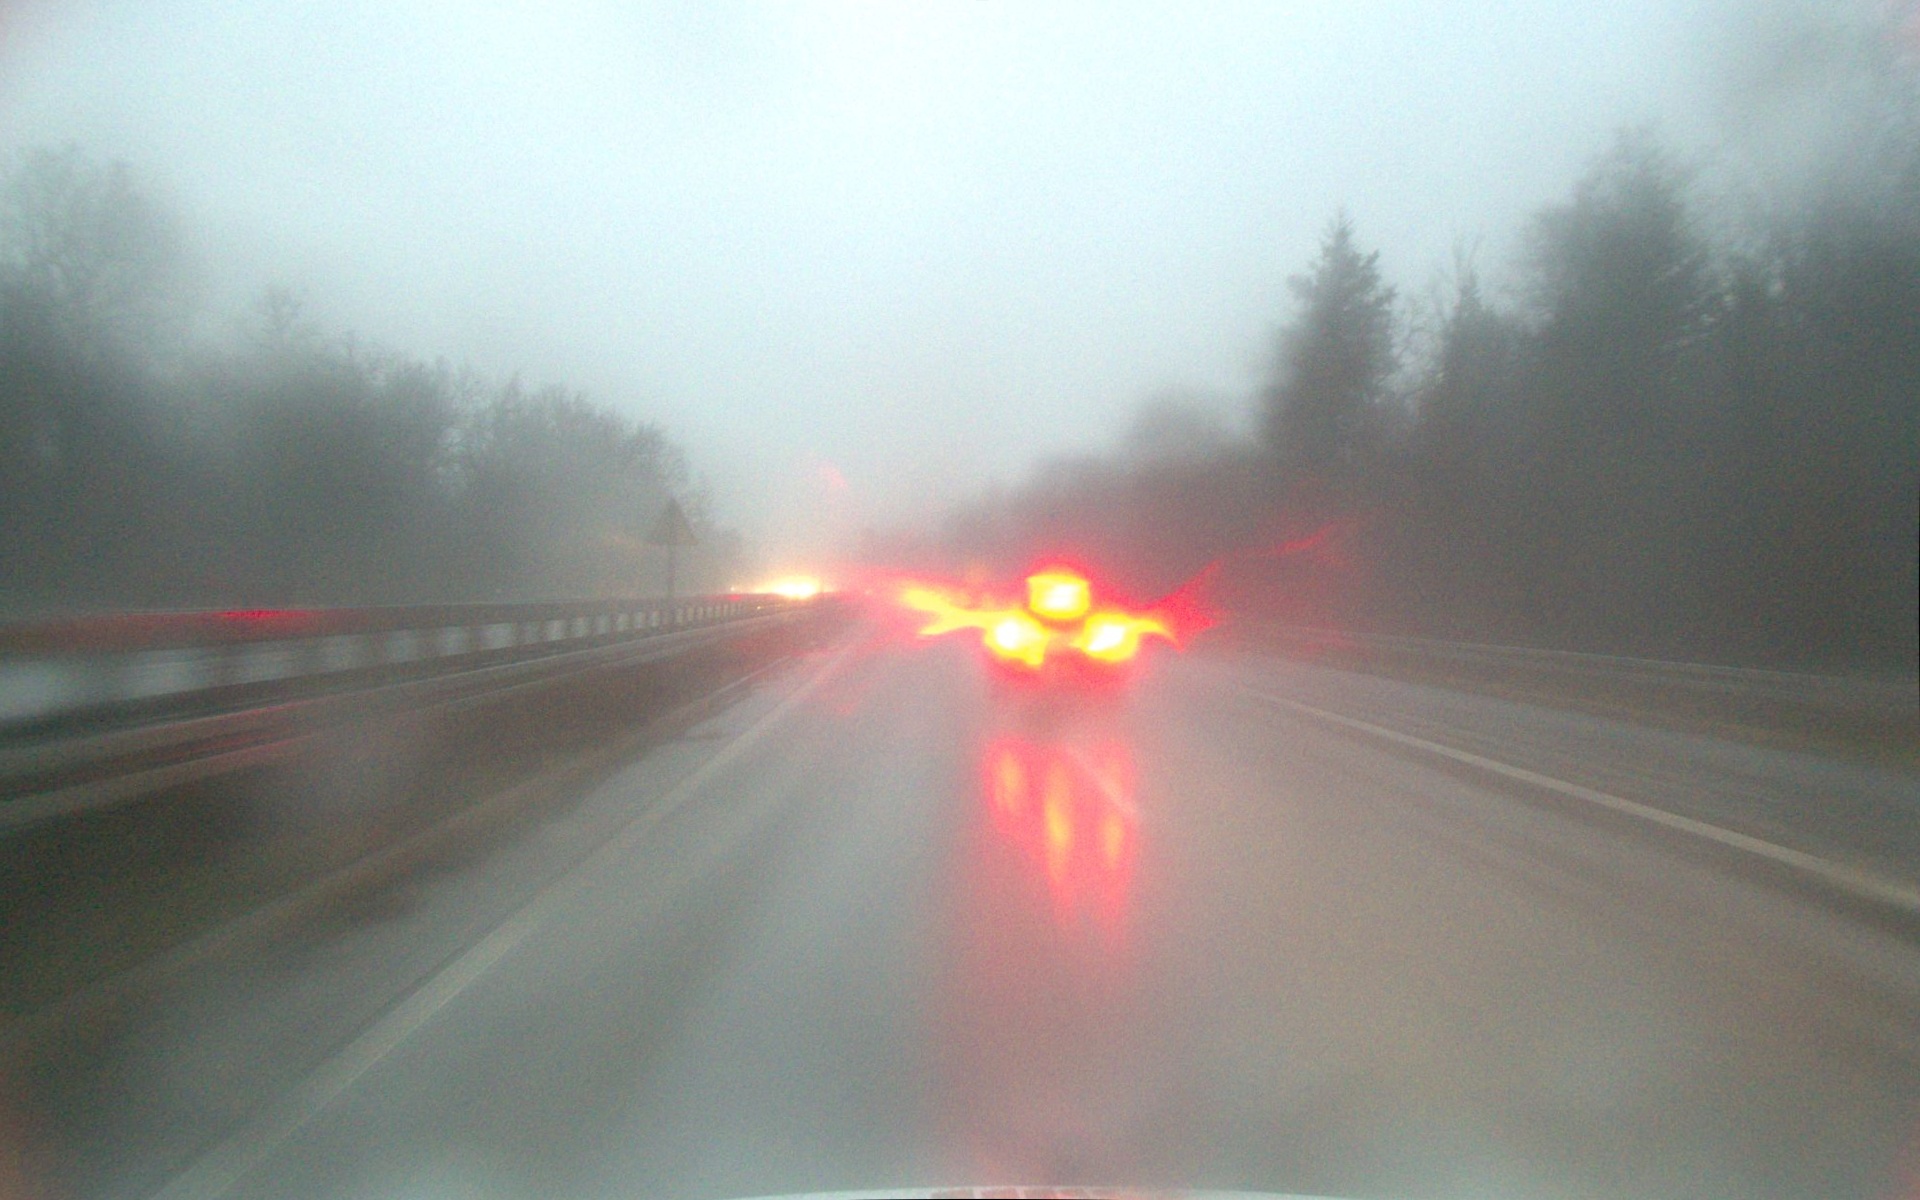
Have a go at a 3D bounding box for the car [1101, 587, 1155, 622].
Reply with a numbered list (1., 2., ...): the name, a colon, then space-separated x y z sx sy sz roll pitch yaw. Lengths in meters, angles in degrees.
1. car: 7.253 0.217 71.664 1.827 1.443 3.999 1 0 -1

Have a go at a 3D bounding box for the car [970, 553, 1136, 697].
1. car: 1.212 0.333 23.271 1.886 1.823 3.938 1 0 -3
